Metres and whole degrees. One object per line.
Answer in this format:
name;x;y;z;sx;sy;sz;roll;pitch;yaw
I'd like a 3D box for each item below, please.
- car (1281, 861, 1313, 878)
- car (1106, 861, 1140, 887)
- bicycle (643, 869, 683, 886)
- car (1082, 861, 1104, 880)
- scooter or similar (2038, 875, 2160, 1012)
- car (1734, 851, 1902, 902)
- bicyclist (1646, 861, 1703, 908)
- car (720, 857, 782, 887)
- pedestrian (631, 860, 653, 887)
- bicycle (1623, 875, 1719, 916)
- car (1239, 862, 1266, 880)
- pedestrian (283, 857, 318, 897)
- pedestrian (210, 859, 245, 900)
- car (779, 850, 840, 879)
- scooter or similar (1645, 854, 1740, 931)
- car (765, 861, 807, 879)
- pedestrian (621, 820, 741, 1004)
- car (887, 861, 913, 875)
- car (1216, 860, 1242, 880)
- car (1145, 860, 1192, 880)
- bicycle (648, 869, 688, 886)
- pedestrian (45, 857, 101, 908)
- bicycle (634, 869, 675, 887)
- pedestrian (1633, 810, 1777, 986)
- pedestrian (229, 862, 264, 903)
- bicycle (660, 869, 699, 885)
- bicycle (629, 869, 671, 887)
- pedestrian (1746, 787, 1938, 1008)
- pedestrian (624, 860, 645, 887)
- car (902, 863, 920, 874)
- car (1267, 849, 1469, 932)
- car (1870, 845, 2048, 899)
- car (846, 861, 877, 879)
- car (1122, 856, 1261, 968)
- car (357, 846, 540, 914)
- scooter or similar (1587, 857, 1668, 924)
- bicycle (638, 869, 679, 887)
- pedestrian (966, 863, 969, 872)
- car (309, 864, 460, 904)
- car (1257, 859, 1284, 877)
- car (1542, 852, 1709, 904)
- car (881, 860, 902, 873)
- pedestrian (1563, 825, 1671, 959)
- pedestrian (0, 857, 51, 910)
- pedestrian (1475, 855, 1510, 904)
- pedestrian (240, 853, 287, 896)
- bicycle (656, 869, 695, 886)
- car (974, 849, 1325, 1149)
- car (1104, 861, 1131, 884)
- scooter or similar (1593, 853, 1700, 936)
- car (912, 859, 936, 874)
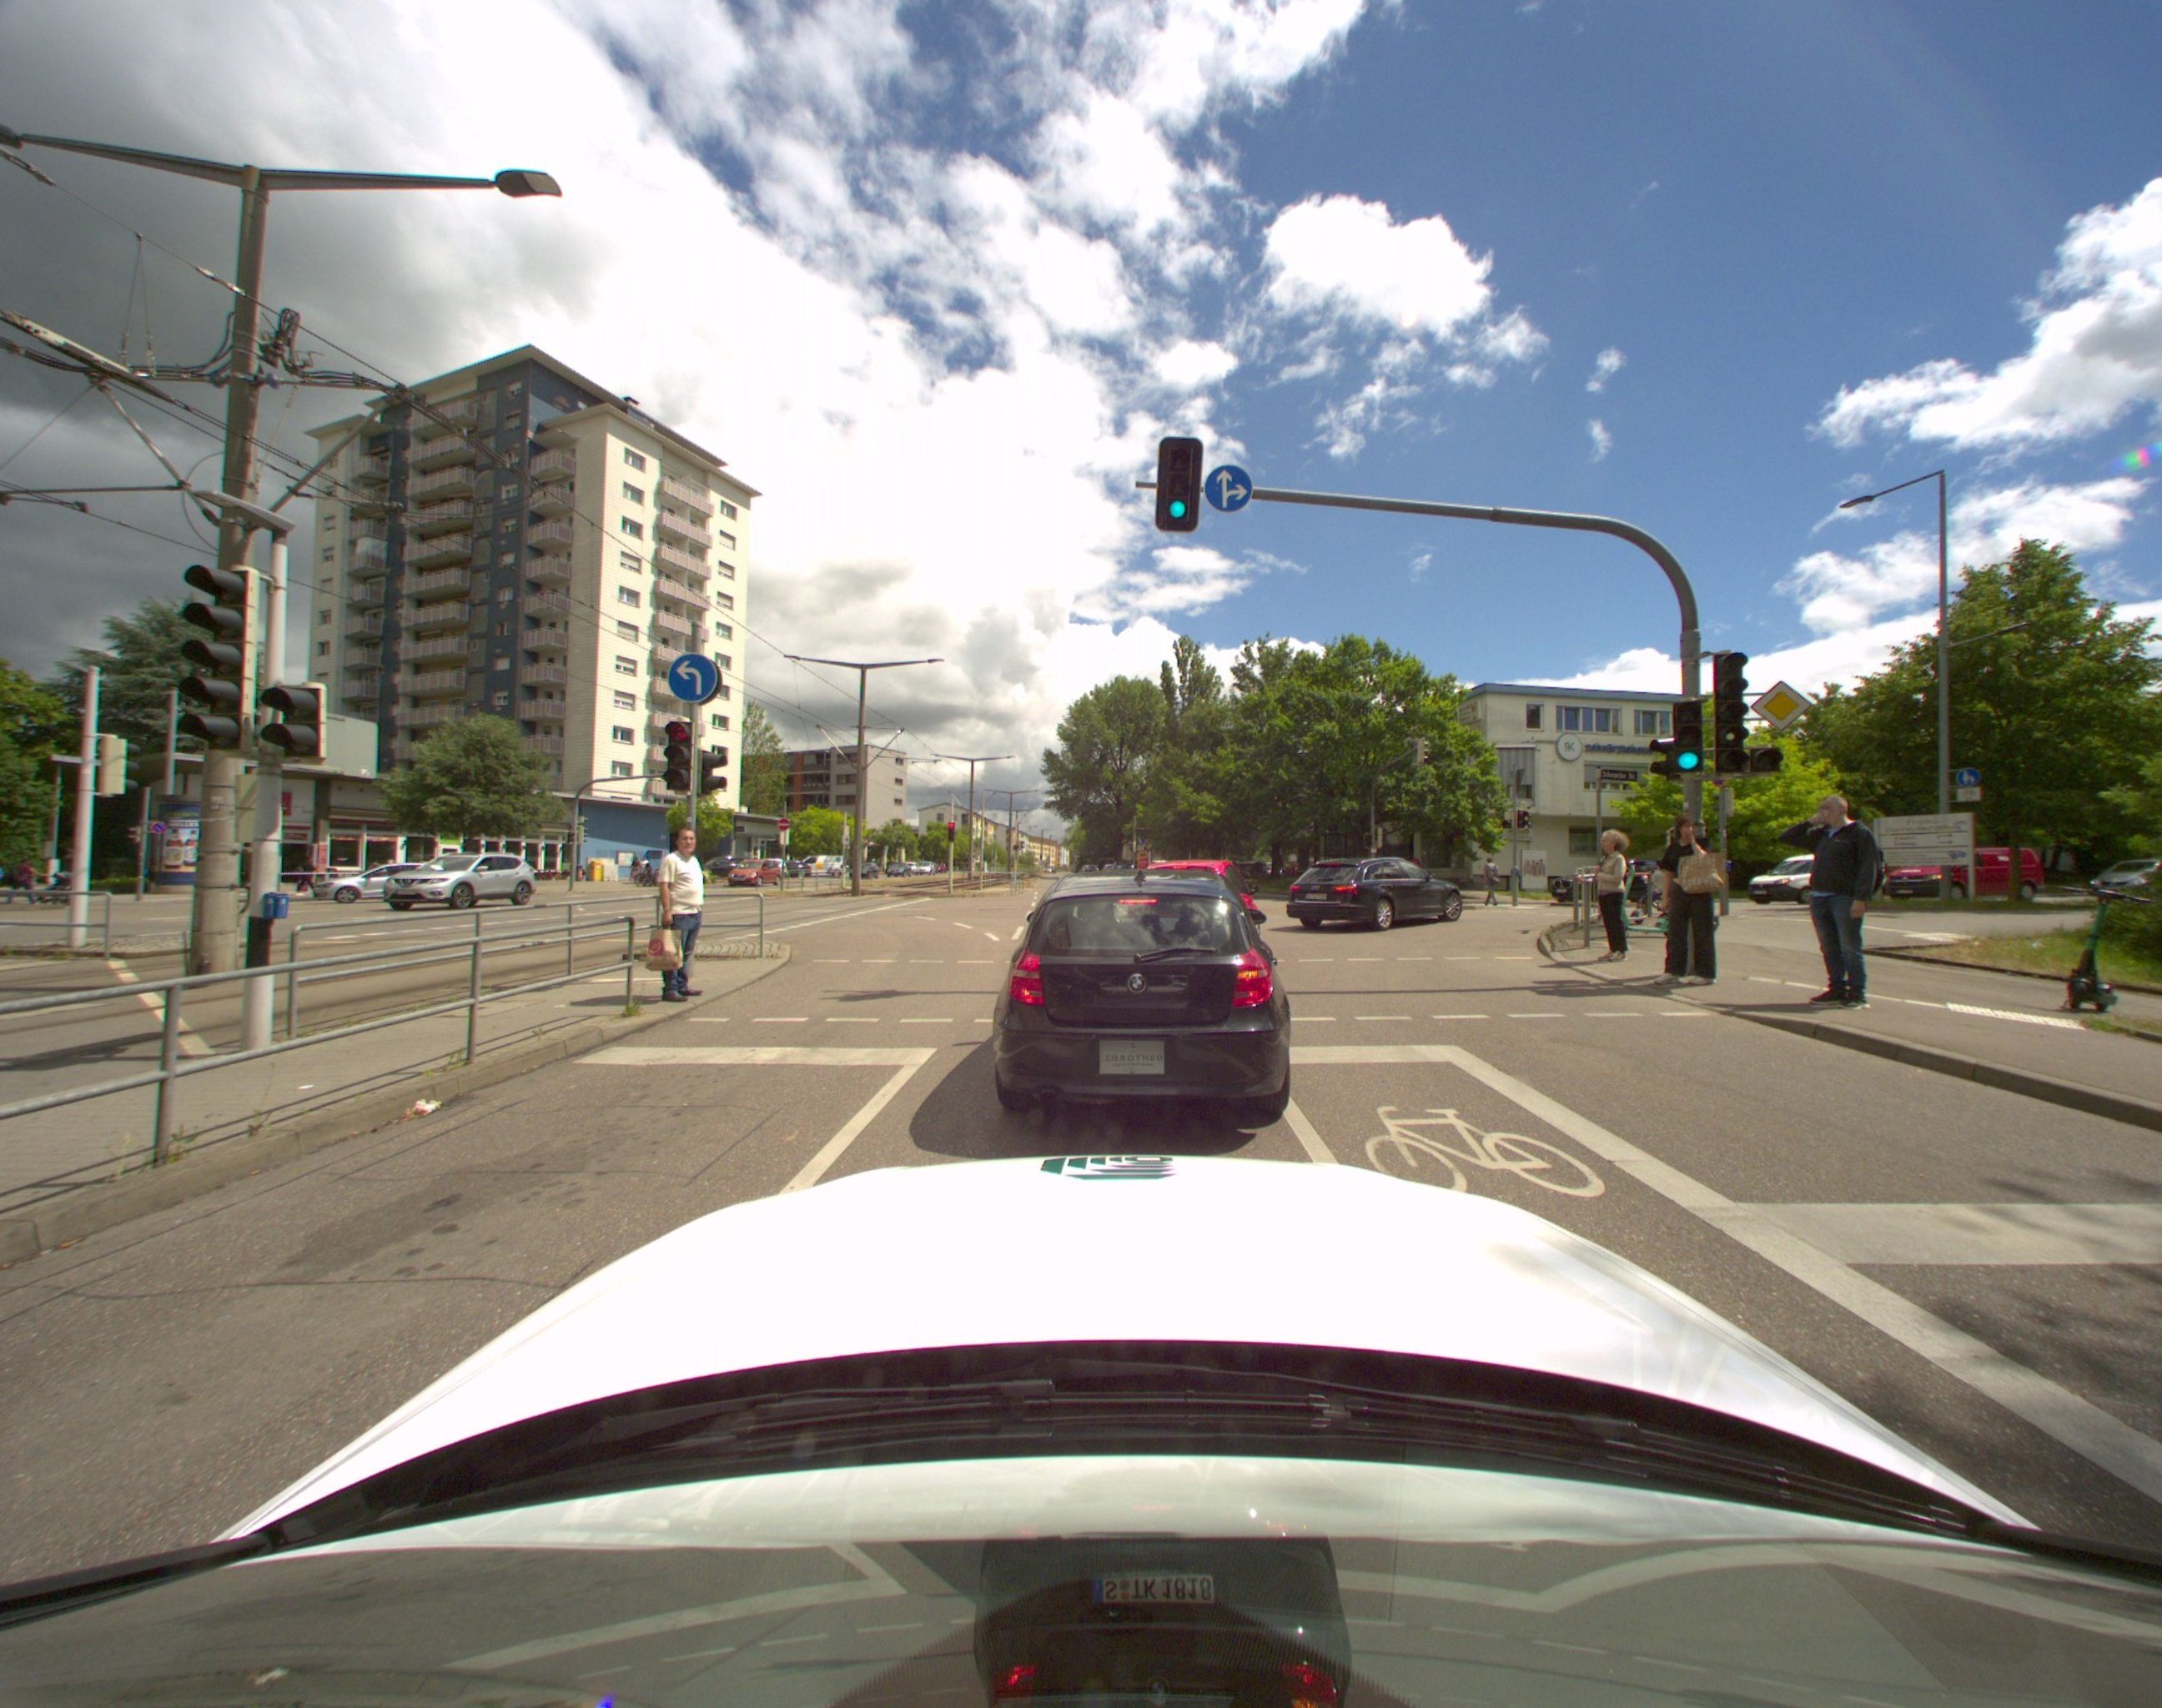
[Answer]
car;20.937;1.472;79.063;1.728;1.595;3.992;0;0;-5
car;2.768;1.323;54.331;2.144;1.684;4.001;0;-1;2
bicycle;-23.265;1.316;45.304;1.943;0.935;0.494;0;-1;-5
car;1.172;1.521;77.120;1.986;1.684;4.002;0;0;2
scooter or similar;10.627;0.922;8.511;1.247;1.275;0.709;6;-1;-38
car;26.260;0.764;29.084;4.555;1.717;1.995;0;0;-8
bicyclist;13.016;0.661;17.873;0.789;1.022;0.635;0;0;-2
car;-19.575;1.046;48.514;1.989;1.635;4.456;-2;0;-3
pedestrian;-27.826;1.240;51.663;1.085;1.659;0.953;-2;-1;45
bicycle;13.011;0.889;18.040;0.789;0.819;1.806;0;0;-2
car;16.286;1.592;77.511;1.626;1.573;4.030;0;0;-1
pedestrian;-32.645;0.951;34.068;0.767;1.615;0.695;0;0;-12
pedestrian;-33.957;0.998;32.415;0.760;1.615;0.702;0;-1;20
car;-24.338;0.886;72.756;2.848;2.478;6.642;0;0;-41
scooter or similar;10.369;0.642;13.822;1.225;1.240;0.555;2;0;-7
car;-24.576;1.334;67.713;1.800;1.420;4.166;0;0;-43
pedestrian;-4.082;0.567;8.373;0.866;1.808;0.741;0;0;-2
car;-18.224;1.426;82.167;1.629;1.399;4.492;0;-1;0
car;13.932;1.473;76.720;1.626;1.811;4.030;0;0;-1
car;8.123;1.463;75.722;4.001;1.823;1.766;0;0;-21
bicycle;-23.250;1.320;45.850;1.943;0.935;0.494;0;-1;-5
pedestrian;-33.693;0.938;27.228;0.957;1.659;1.002;-1;-1;28
bicycle;-23.220;1.307;44.321;1.943;0.935;0.494;0;-1;-5
pedestrian;6.635;0.440;8.697;0.933;1.765;0.770;-1;0;-10
pedestrian;-34.256;1.152;33.435;0.756;1.616;0.784;-1;-6;42
bicycle;-23.130;1.328;46.953;1.943;0.935;0.494;0;-1;-5
bicycle;-23.168;1.303;43.814;1.943;0.935;0.494;0;-1;-5
pedestrian;7.071;0.379;7.618;0.963;1.942;0.896;0;0;-3
pedestrian;-28.782;1.254;52.494;1.085;1.659;0.953;-2;-1;45
car;-21.217;1.801;101.723;1.758;1.395;3.993;0;0;-5
car;6.248;0.703;17.498;4.543;1.554;1.977;0;-1;-39
car;31.890;0.650;29.647;4.800;1.864;1.995;0;-2;-8
car;-18.962;1.335;70.466;1.624;1.414;4.252;-1;1;-1
car;1.786;0.763;12.369;1.529;1.441;3.211;0;0;18
car;-18.824;0.711;24.572;1.988;1.801;4.508;-2;0;-1
scooter or similar;9.887;0.651;14.737;1.360;1.156;0.540;1;0;-23
bicycle;-23.242;1.312;44.827;1.943;0.935;0.494;0;-1;-5
pedestrian;-20.393;2.388;145.875;0.452;1.637;0.480;0;0;-3
car;-25.709;1.067;30.162;1.676;1.398;4.025;-1;-2;40
car;18.266;1.328;78.693;1.626;1.595;3.998;0;0;-1
car;18.621;0.792;27.963;4.551;1.717;1.996;0;0;-5
car;-21.893;1.447;94.156;1.758;1.395;3.993;0;0;-5
pedestrian;7.034;0.486;10.735;0.945;1.674;0.874;-1;-1;17
pedestrian;-34.078;0.932;26.191;0.957;1.659;1.002;-1;-1;28
pedestrian;14.068;0.862;27.860;0.765;1.643;0.908;0;0;1
pedestrian;-36.862;0.915;36.754;0.861;1.917;1.215;0;0;2
bicycle;-23.115;1.324;46.461;1.943;0.935;0.494;0;-1;-5
car;0.408;0.721;6.062;1.746;1.487;4.002;0;0;2
car;2.727;1.413;61.786;1.986;1.684;4.001;0;-1;2
scooter or similar;8.979;0.629;12.951;1.336;1.277;0.463;0;1;8
car;-18.336;1.473;95.274;1.930;1.693;3.874;0;0;1
